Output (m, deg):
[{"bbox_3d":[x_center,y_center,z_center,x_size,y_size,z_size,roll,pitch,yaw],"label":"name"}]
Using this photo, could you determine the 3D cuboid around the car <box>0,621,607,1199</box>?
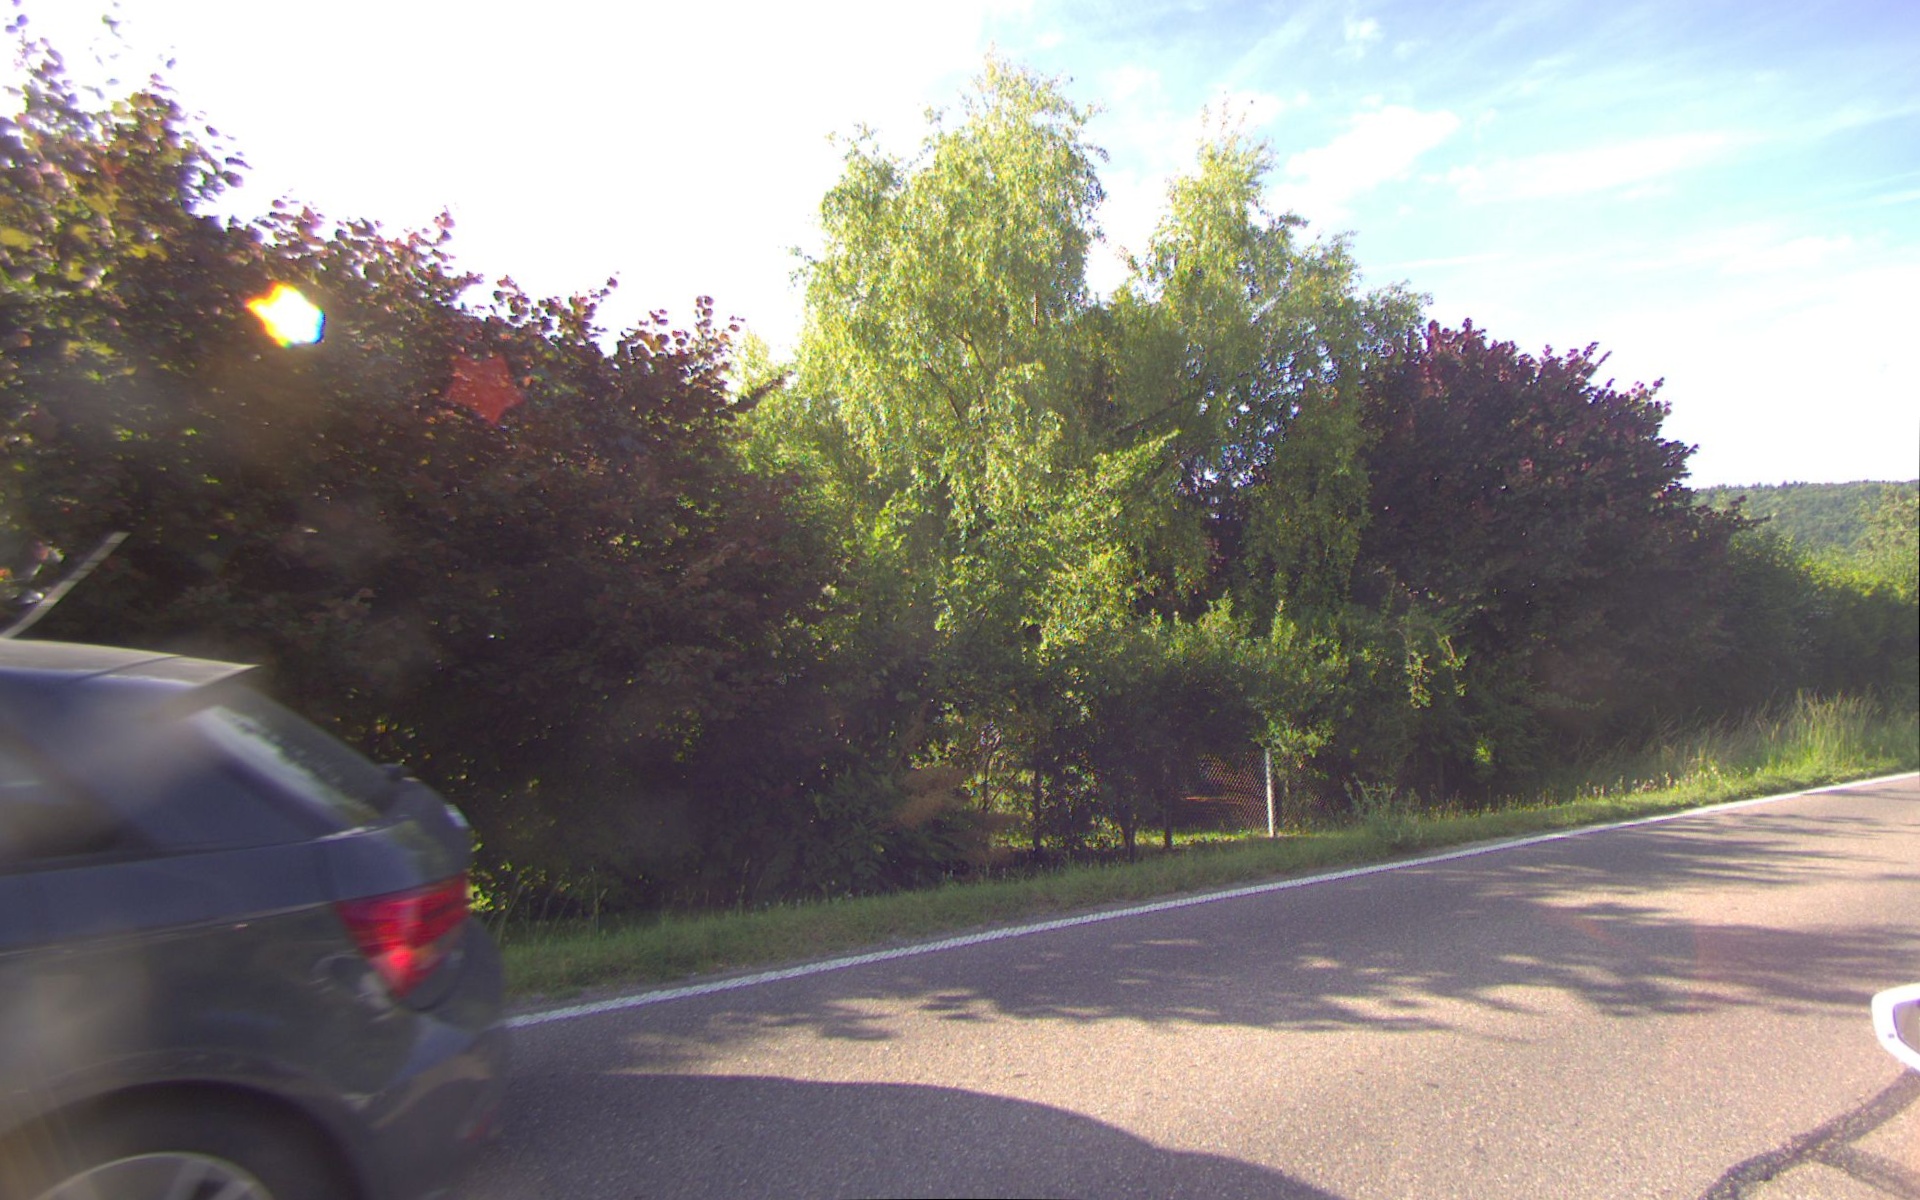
[{"bbox_3d":[-2.748,0.753,1.787,3.747,1.434,1.619,2,-3,-32],"label":"car"}]
